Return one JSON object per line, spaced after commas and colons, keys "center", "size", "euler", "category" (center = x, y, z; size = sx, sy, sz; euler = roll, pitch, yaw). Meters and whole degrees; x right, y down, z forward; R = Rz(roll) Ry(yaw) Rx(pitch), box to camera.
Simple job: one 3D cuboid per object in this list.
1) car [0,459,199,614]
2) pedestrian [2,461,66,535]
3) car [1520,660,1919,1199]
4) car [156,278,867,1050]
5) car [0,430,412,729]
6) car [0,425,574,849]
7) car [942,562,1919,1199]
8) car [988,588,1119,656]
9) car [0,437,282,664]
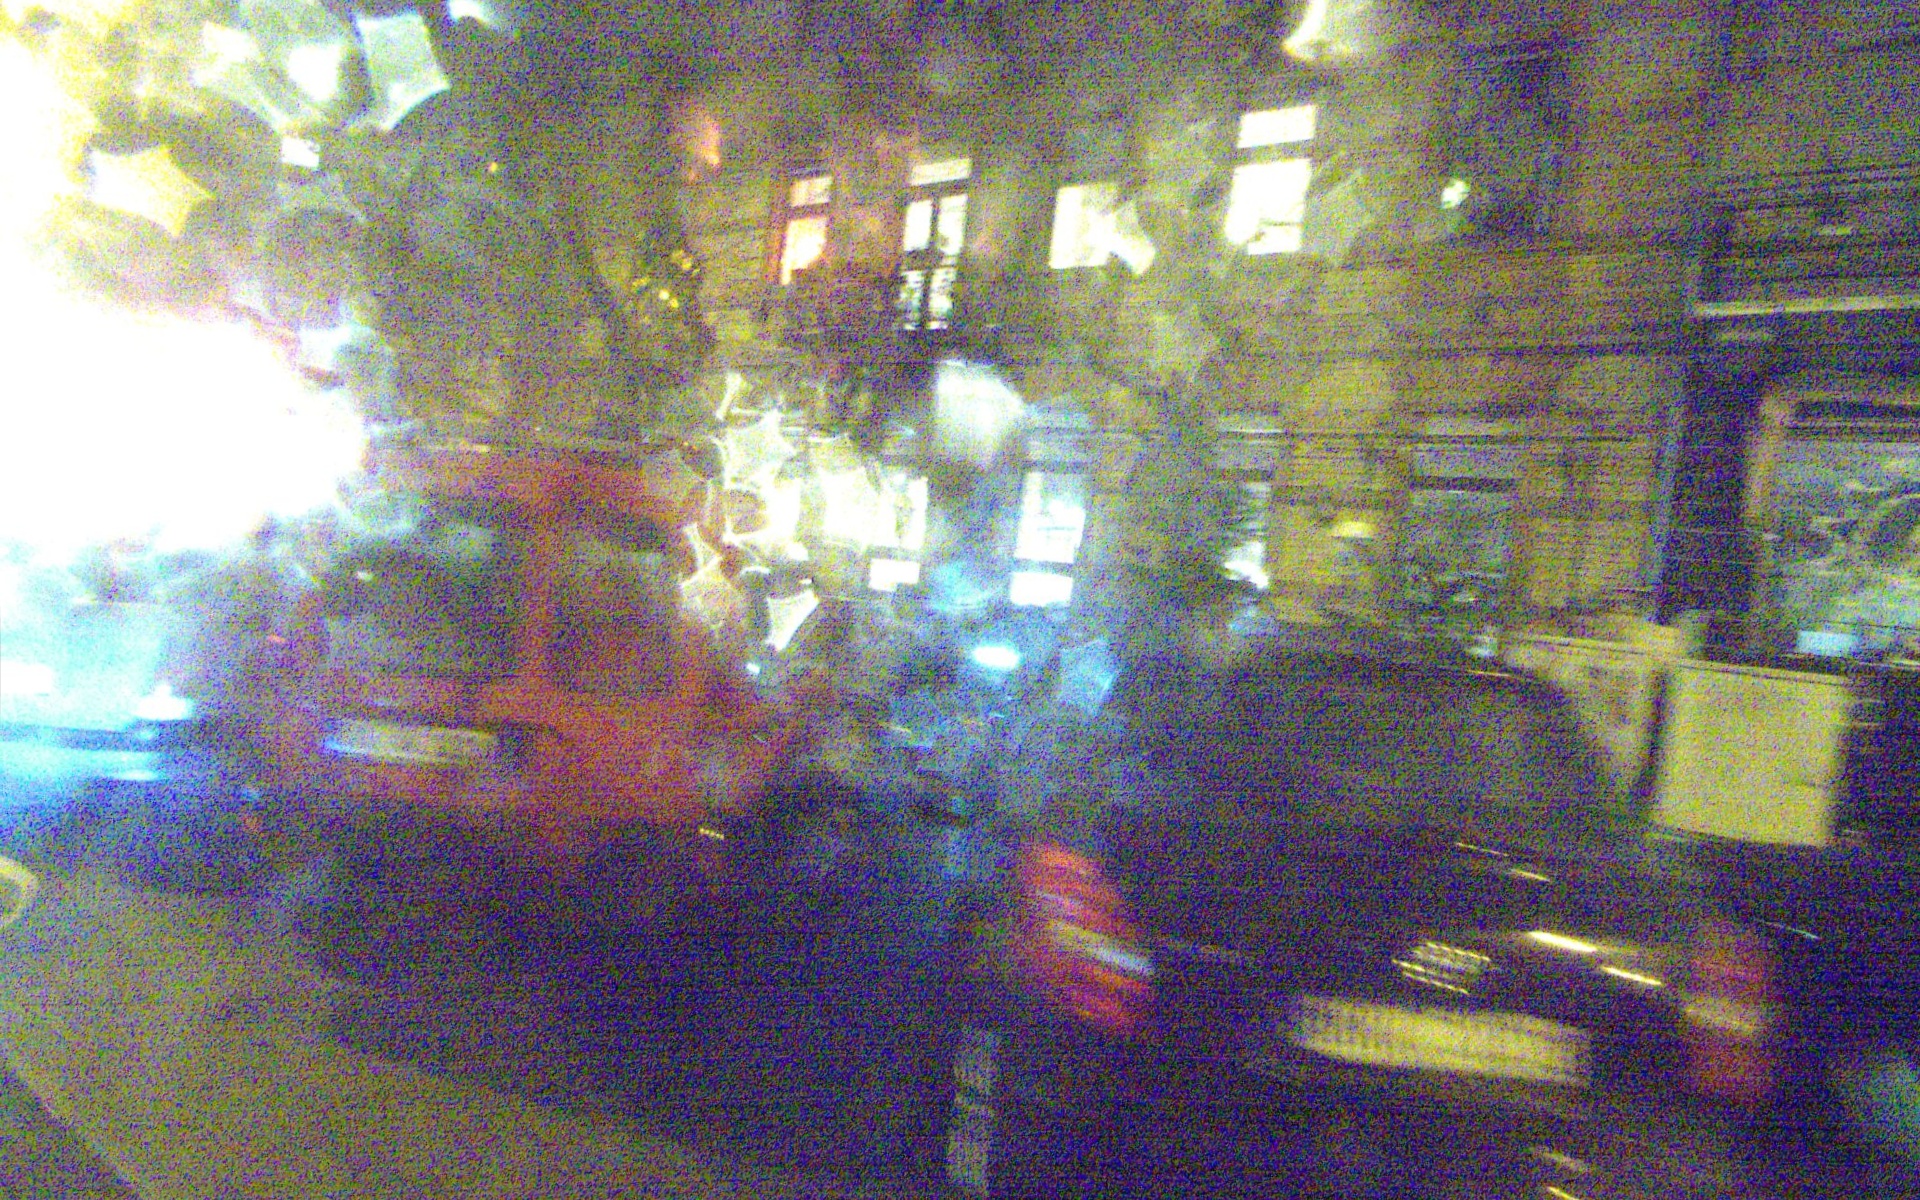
{"center": [-10.689, -0.748, 10.662], "size": [1.738, 1.594, 4.260], "euler": [6, 2, 3], "category": "car"}
{"center": [-25.344, -2.760, 27.550], "size": [0.867, 1.856, 0.978], "euler": [6, 1, -22], "category": "pedestrian"}
{"center": [3.205, 1.085, 1.952], "size": [1.648, 1.471, 4.054], "euler": [7, 0, -3], "category": "car"}
{"center": [-1.457, 0.161, 4.750], "size": [1.690, 2.055, 3.735], "euler": [6, 2, -3], "category": "car"}
{"center": [-6.170, -0.242, 7.856], "size": [1.717, 1.735, 3.788], "euler": [6, 2, -3], "category": "car"}
{"center": [-3.984, 0.045, 6.033], "size": [1.800, 1.619, 4.067], "euler": [6, 2, -3], "category": "car"}
{"center": [0.847, 0.712, 3.441], "size": [1.628, 1.472, 3.702], "euler": [6, 2, 0], "category": "car"}
{"center": [3.154, 0.716, 34.916], "size": [1.982, 1.784, 4.420], "euler": [8, 0, -35], "category": "car"}
{"center": [-8.264, -0.512, 9.094], "size": [1.739, 1.735, 3.735], "euler": [6, 2, -3], "category": "car"}
